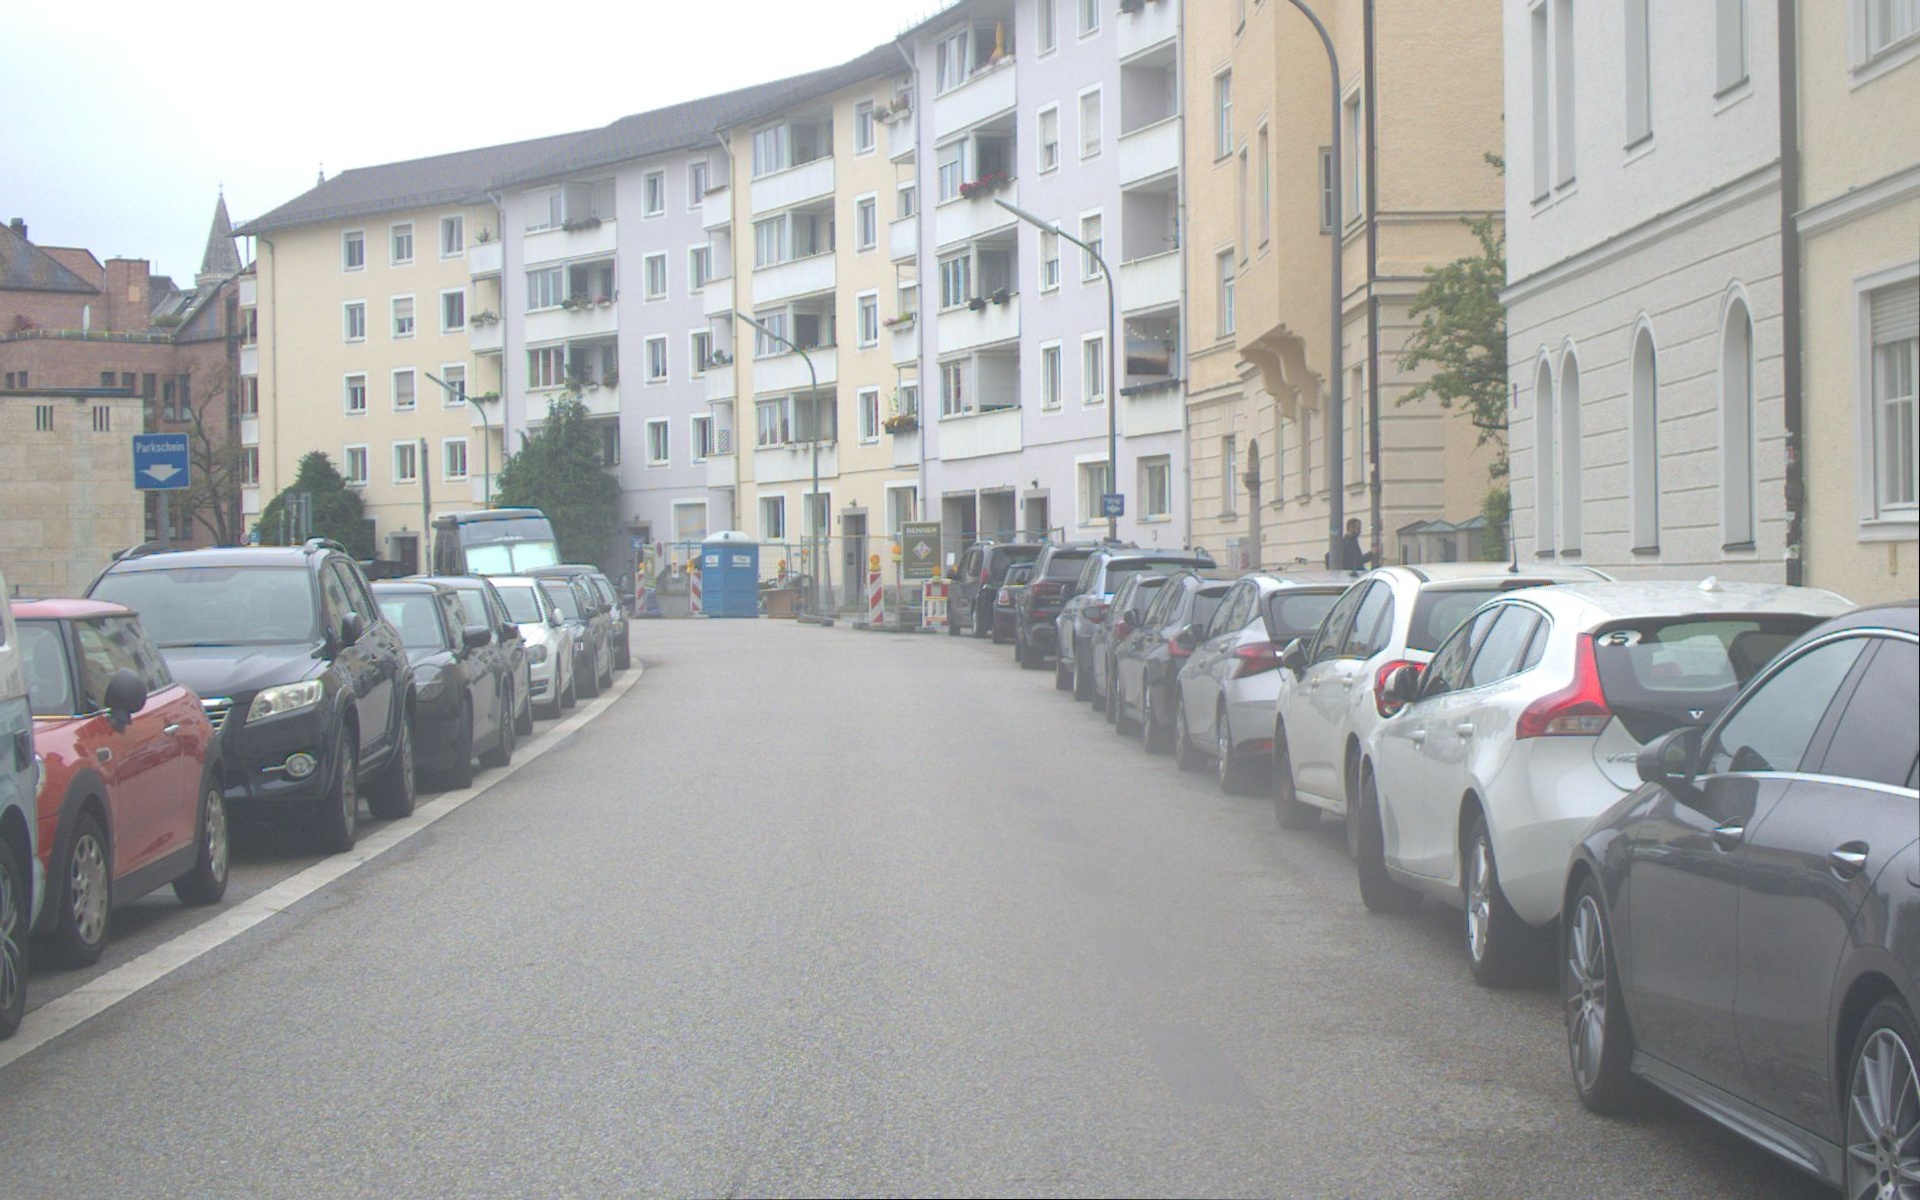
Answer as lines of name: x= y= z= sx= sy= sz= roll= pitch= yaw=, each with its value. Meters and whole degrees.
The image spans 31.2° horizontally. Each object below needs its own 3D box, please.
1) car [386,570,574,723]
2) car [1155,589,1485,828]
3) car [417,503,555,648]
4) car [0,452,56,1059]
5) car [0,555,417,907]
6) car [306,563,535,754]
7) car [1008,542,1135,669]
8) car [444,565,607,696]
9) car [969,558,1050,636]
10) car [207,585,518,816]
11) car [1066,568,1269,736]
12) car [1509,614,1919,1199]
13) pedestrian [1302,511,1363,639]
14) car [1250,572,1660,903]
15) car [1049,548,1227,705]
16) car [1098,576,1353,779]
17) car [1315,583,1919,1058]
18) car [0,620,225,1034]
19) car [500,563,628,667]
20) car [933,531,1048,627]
car: x=-4.906 y=0.432 z=35.548 sx=1.623 sy=1.414 sz=3.982 roll=-1 pitch=1 yaw=-4
car: x=2.370 y=0.675 z=23.547 sx=1.692 sy=1.427 sz=3.945 roll=1 pitch=1 yaw=-2
car: x=-9.102 y=-0.495 z=65.763 sx=1.770 sy=2.645 sz=4.001 roll=2 pitch=1 yaw=-19
car: x=-3.921 y=0.562 z=9.365 sx=1.882 sy=1.925 sz=4.602 roll=-2 pitch=2 yaw=-3
car: x=-4.233 y=0.643 z=19.563 sx=1.701 sy=1.685 sz=4.028 roll=-2 pitch=2 yaw=-2
car: x=-4.689 y=0.460 z=30.309 sx=1.623 sy=1.503 sz=3.982 roll=-1 pitch=1 yaw=-4
car: x=1.525 y=0.036 z=48.267 sx=1.474 sy=1.635 sz=4.001 roll=1 pitch=2 yaw=-2
car: x=-5.167 y=0.328 z=41.236 sx=1.623 sy=1.414 sz=3.982 roll=-1 pitch=1 yaw=-3
car: x=0.849 y=-0.070 z=60.019 sx=1.272 sy=1.294 sz=2.798 roll=0 pitch=1 yaw=-2
car: x=-4.191 y=0.653 z=24.626 sx=1.623 sy=1.407 sz=3.799 roll=-2 pitch=1 yaw=-2
car: x=1.958 y=0.462 z=33.360 sx=1.590 sy=1.427 sz=3.826 roll=1 pitch=2 yaw=-2
car: x=2.502 y=0.814 z=7.743 sx=1.692 sy=1.486 sz=4.343 roll=0 pitch=1 yaw=-2
pedestrian: x=5.017 y=-0.335 z=46.345 sx=0.667 sy=1.687 sz=0.690 roll=2 pitch=1 yaw=-1
car: x=2.522 y=0.643 z=18.302 sx=1.599 sy=1.486 sz=3.799 roll=0 pitch=2 yaw=0
car: x=1.935 y=0.247 z=38.471 sx=1.590 sy=1.576 sz=4.300 roll=1 pitch=2 yaw=-2
car: x=2.119 y=0.578 z=28.479 sx=1.590 sy=1.427 sz=4.422 roll=1 pitch=2 yaw=-2
car: x=2.532 y=0.717 z=13.509 sx=1.692 sy=1.486 sz=4.283 roll=0 pitch=1 yaw=-2
car: x=-4.232 y=0.857 z=14.226 sx=1.652 sy=1.368 sz=3.653 roll=-2 pitch=2 yaw=-2
car: x=-5.806 y=0.194 z=50.701 sx=1.623 sy=1.414 sz=3.648 roll=-1 pitch=1 yaw=-3
car: x=0.561 y=-0.411 z=65.264 sx=1.601 sy=1.709 sz=3.090 roll=1 pitch=2 yaw=-10
